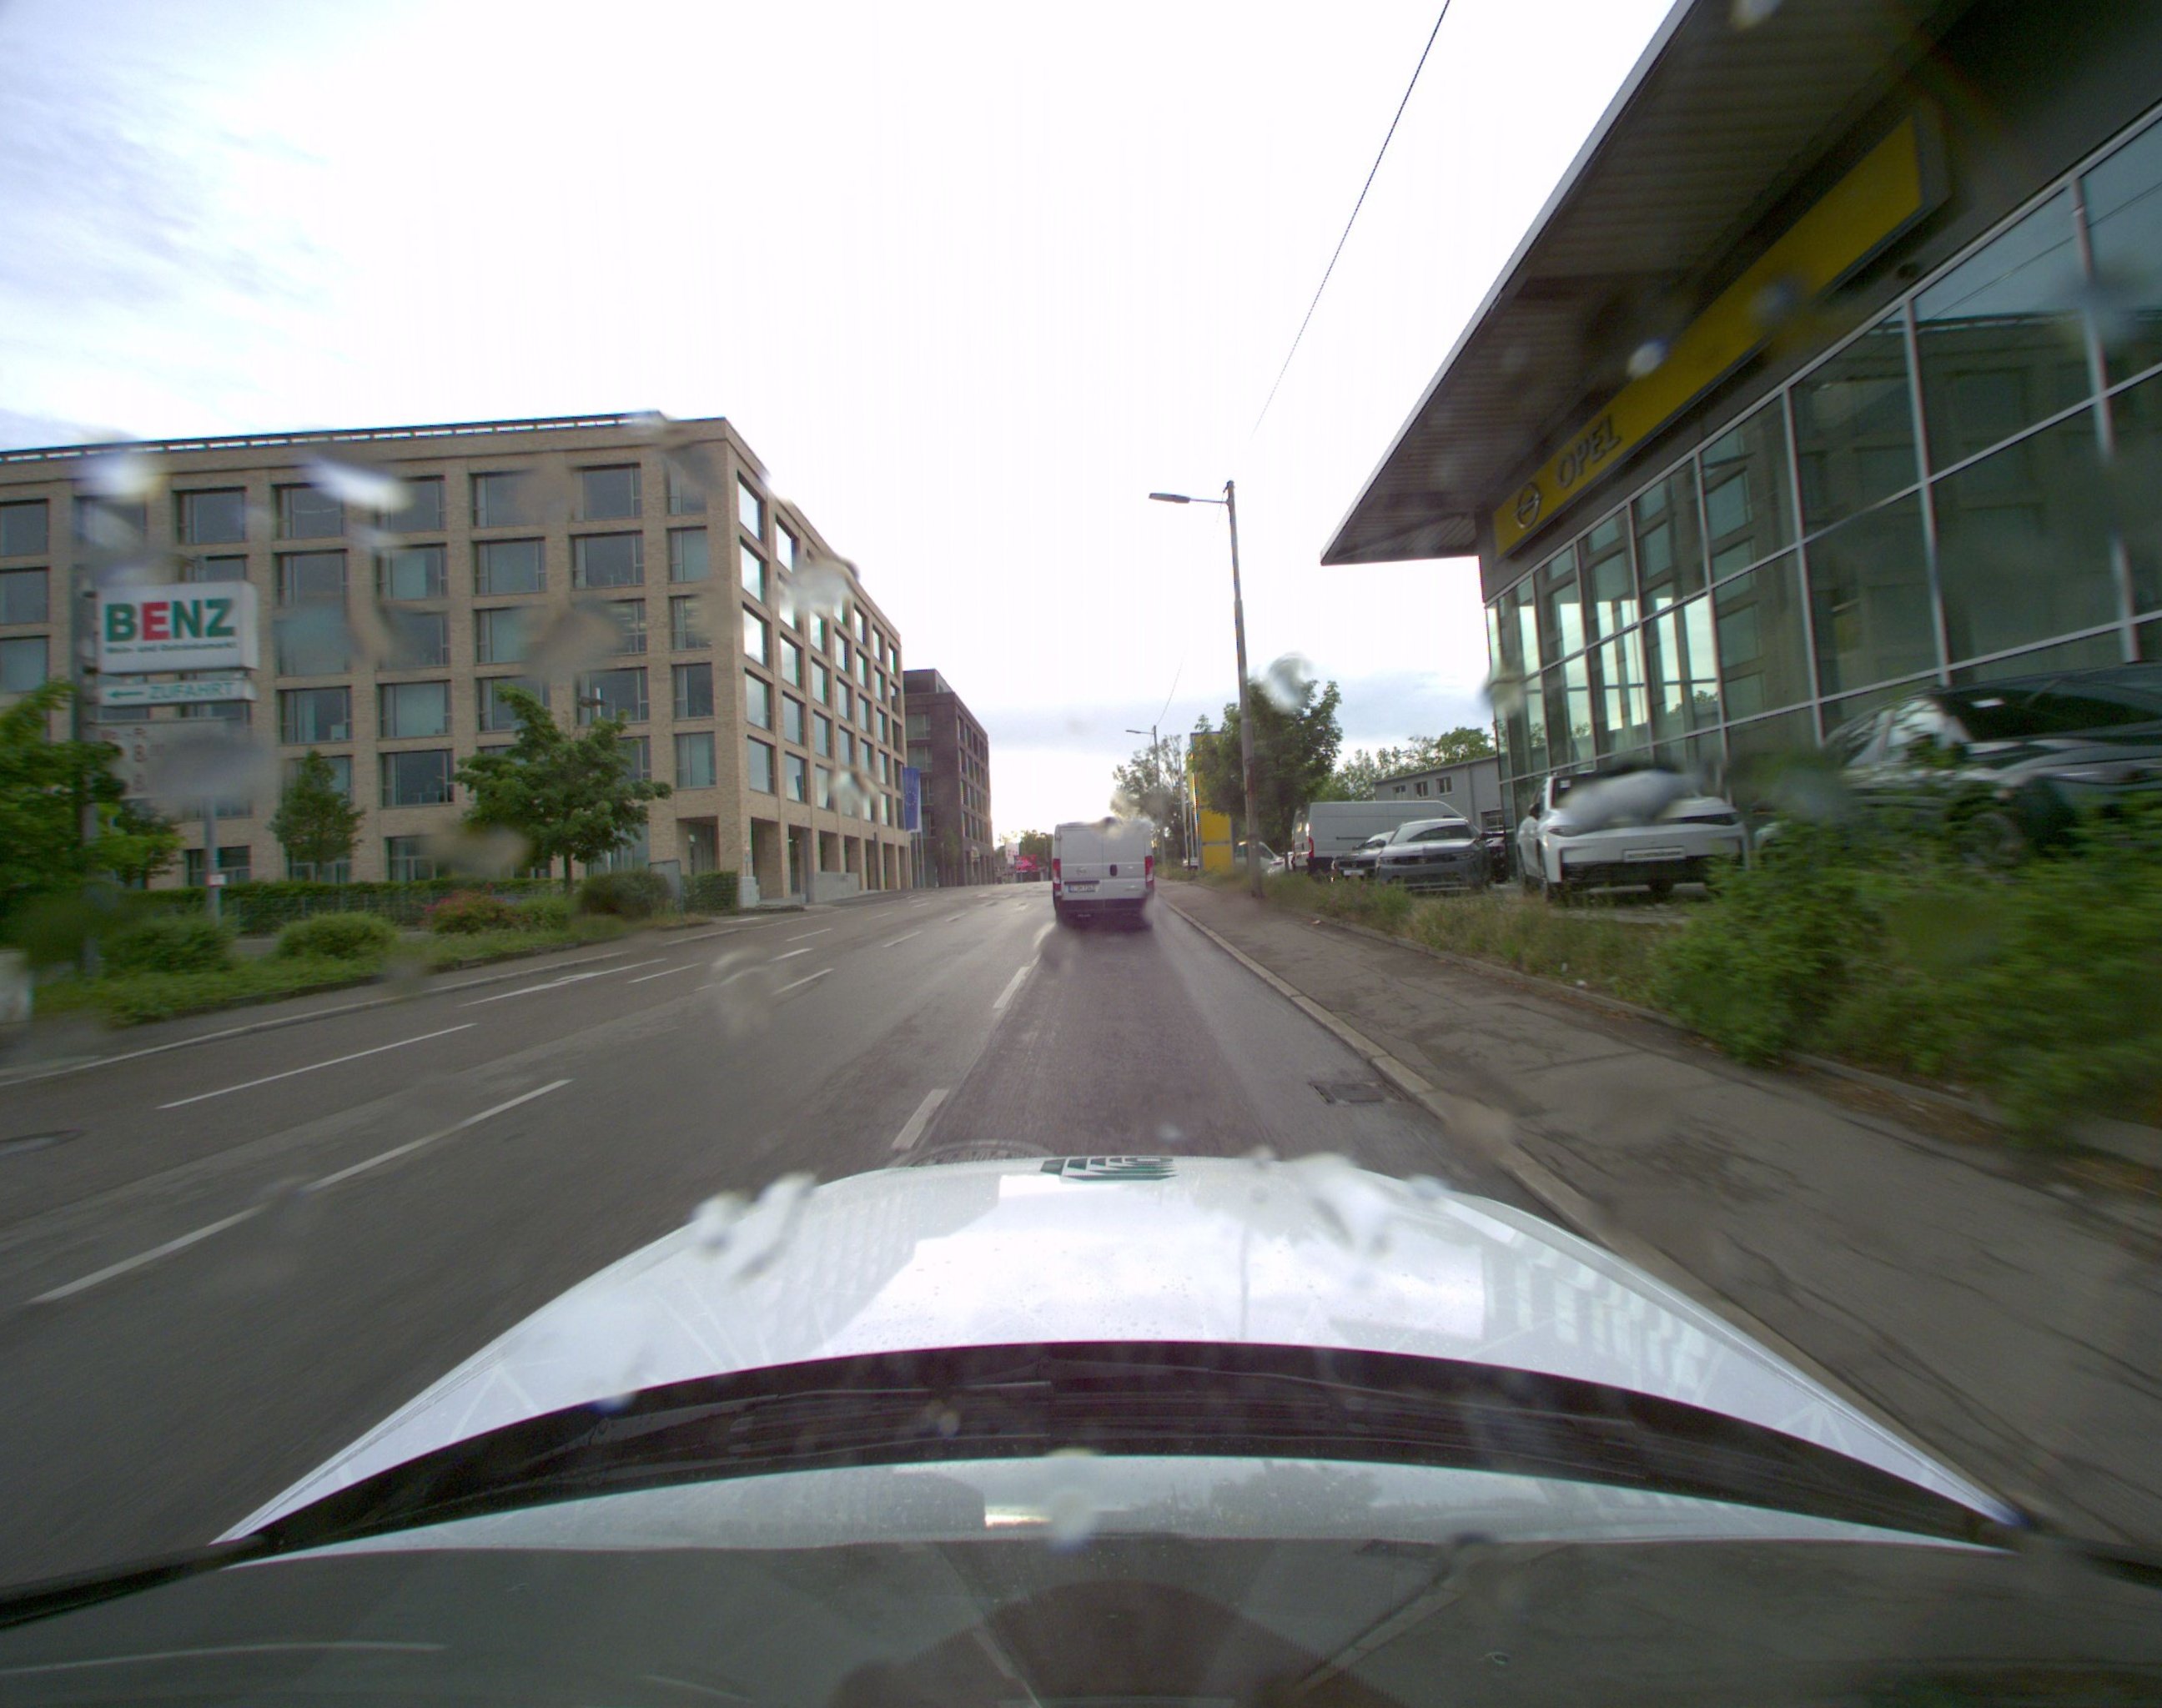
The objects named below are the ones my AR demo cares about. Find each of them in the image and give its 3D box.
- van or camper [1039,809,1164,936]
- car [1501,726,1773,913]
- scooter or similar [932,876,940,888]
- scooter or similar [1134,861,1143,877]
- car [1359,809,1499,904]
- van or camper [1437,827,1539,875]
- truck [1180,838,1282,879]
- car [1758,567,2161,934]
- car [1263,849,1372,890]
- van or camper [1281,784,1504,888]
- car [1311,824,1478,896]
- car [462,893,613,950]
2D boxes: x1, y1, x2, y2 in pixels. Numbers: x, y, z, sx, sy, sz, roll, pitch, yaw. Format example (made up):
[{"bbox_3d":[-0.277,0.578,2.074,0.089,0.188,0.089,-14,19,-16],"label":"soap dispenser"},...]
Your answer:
[{"bbox_3d":[0.495,0.370,18.344,2.331,2.357,5.202,-2,0,2],"label":"van or camper"},{"bbox_3d":[6.672,-0.331,10.381,1.975,1.710,4.604,-5,-2,24],"label":"car"},{"bbox_3d":[-13.192,2.564,74.115,0.349,1.072,1.429,-2,-2,2],"label":"scooter or similar"},{"bbox_3d":[5.753,1.540,81.625,0.436,1.587,1.263,-2,-1,-21],"label":"scooter or similar"},{"bbox_3d":[6.840,0.029,15.700,1.891,1.454,4.600,-6,-2,29],"label":"car"},{"bbox_3d":[24.731,-0.175,49.489,5.281,2.489,2.275,-5,0,-17],"label":"van or camper"},{"bbox_3d":[8.256,0.249,45.243,5.133,2.013,2.344,-2,0,-1],"label":"truck"},{"bbox_3d":[6.596,-0.575,5.593,1.975,1.710,4.455,-5,-2,28],"label":"car"},{"bbox_3d":[9.729,0.631,33.774,3.972,1.428,1.896,-3,0,2],"label":"car"},{"bbox_3d":[9.149,-0.513,24.363,5.716,2.724,2.352,-2,0,1],"label":"van or camper"},{"bbox_3d":[7.847,0.111,20.180,4.543,1.454,1.893,-3,-2,-42],"label":"car"},{"bbox_3d":[-16.356,2.019,24.600,3.475,1.464,1.544,-2,0,1],"label":"car"}]
